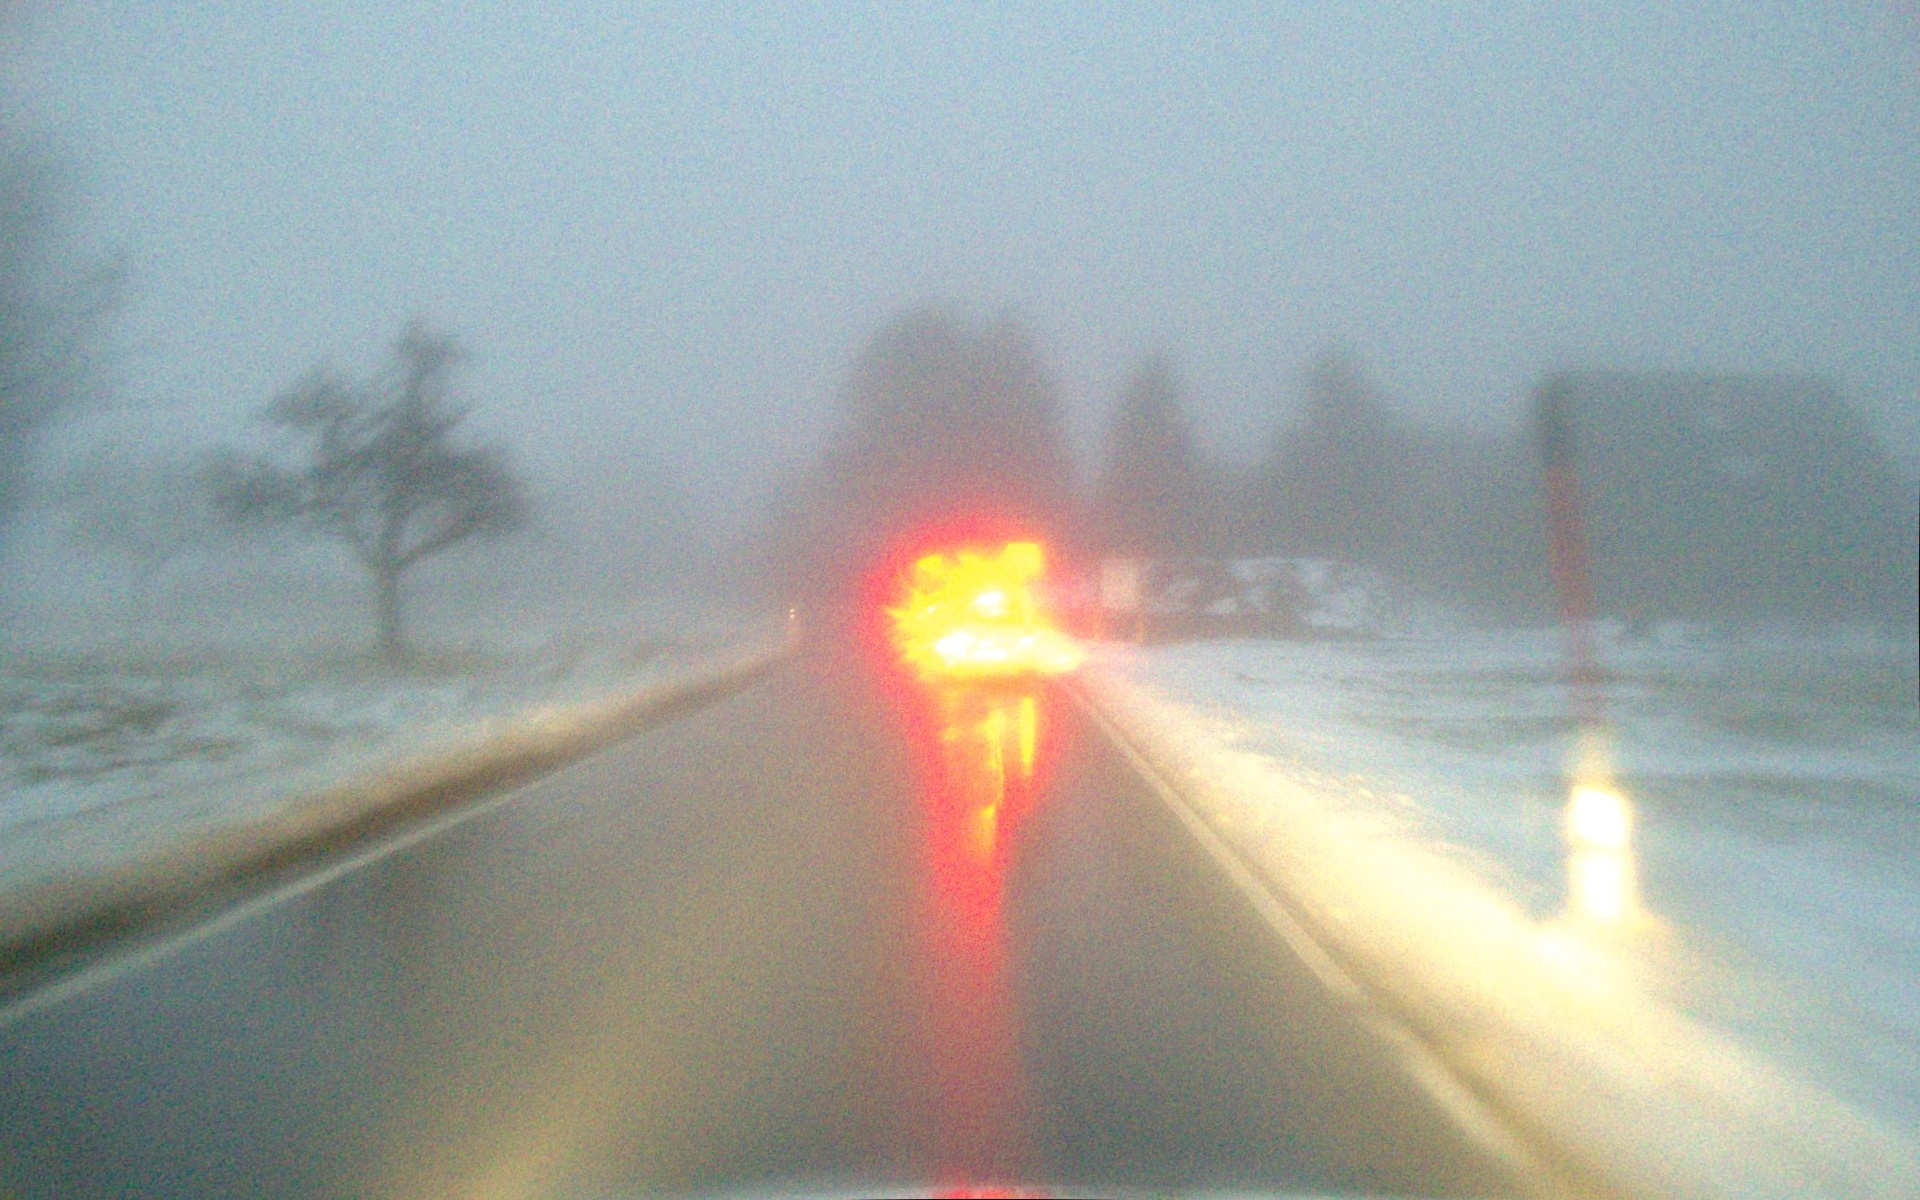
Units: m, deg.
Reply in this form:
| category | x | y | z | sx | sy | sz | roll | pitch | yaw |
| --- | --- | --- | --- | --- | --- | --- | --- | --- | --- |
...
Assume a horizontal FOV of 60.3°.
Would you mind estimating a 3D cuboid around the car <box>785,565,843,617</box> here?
| category | x | y | z | sx | sy | sz | roll | pitch | yaw |
| --- | --- | --- | --- | --- | --- | --- | --- | --- | --- |
| car | -4.529 | -0.263 | 51.599 | 1.491 | 1.534 | 3.053 | -1 | 0 | 0 |

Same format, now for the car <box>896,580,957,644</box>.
| category | x | y | z | sx | sy | sz | roll | pitch | yaw |
| --- | --- | --- | --- | --- | --- | --- | --- | --- | --- |
| car | -0.822 | 0.287 | 42.323 | 1.448 | 1.534 | 3.053 | -1 | 0 | 0 |

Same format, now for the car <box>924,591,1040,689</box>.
| category | x | y | z | sx | sy | sz | roll | pitch | yaw |
| --- | --- | --- | --- | --- | --- | --- | --- | --- | --- |
| car | 0.305 | 0.680 | 28.370 | 1.673 | 1.489 | 3.997 | 3 | -1 | -3 |
